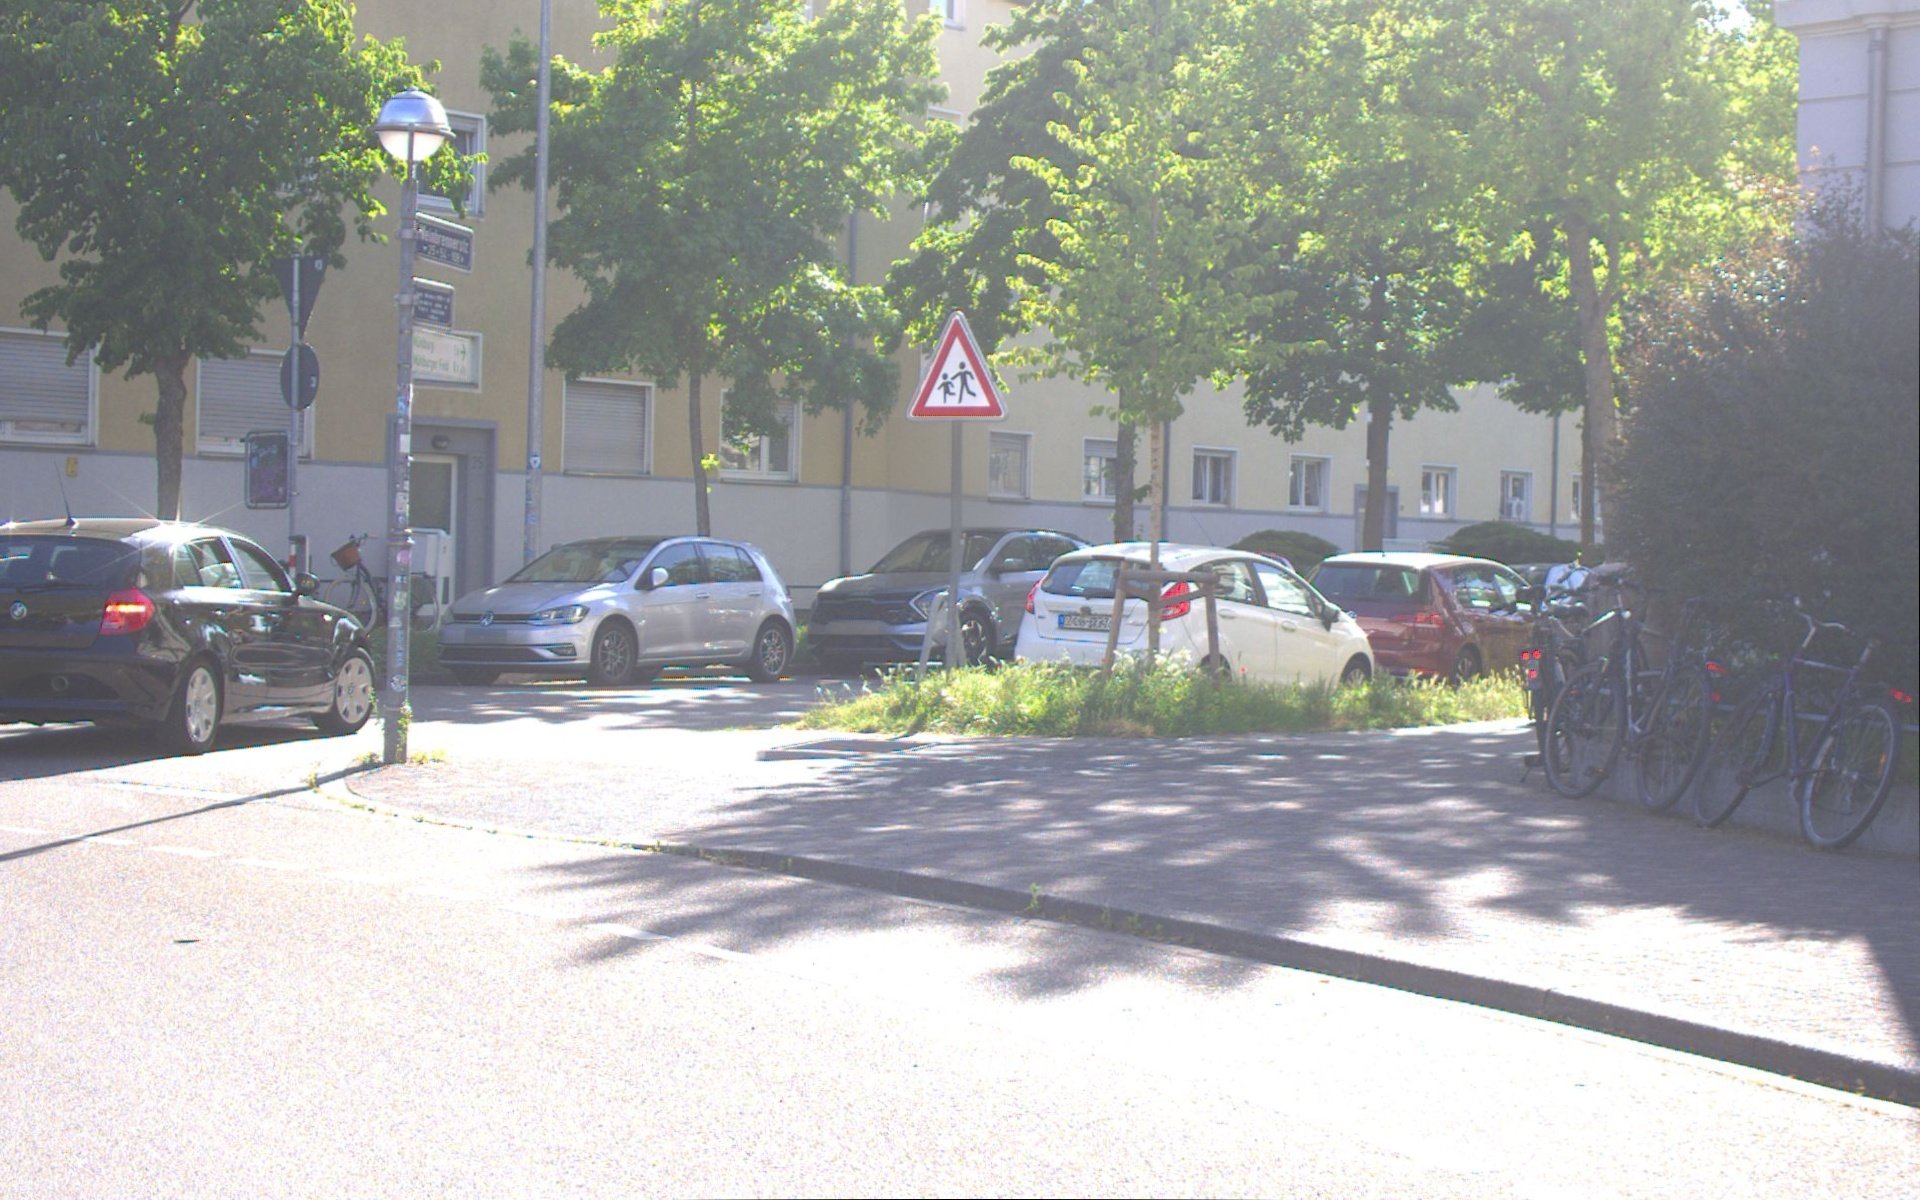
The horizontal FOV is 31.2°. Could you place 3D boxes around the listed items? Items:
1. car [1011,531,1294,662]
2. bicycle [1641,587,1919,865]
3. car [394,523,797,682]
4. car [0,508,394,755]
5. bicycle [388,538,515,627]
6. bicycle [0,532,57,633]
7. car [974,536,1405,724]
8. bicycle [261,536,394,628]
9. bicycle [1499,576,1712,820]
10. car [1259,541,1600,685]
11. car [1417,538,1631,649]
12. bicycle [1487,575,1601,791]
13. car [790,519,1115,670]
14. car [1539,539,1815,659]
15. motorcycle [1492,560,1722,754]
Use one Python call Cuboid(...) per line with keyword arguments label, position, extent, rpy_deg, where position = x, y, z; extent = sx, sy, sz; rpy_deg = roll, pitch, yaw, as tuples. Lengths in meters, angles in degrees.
Cuboid(label="car", position=(2.388, -0.055, 41.759), extent=(1.797, 1.505, 3.993), rpy_deg=(1, 1, 30))
Cuboid(label="bicycle", position=(3.614, 0.519, 15.123), extent=(0.498, 1.104, 1.801), rpy_deg=(0, 2, -13))
Cuboid(label="car", position=(-3.421, 0.014, 32.954), extent=(1.801, 1.406, 3.993), rpy_deg=(1, 1, 30))
Cuboid(label="car", position=(-5.144, 0.157, 21.815), extent=(1.865, 1.414, 3.998), rpy_deg=(0, 1, 10))
Cuboid(label="bicycle", position=(-5.996, -0.204, 40.569), extent=(1.446, 1.023, 0.500), rpy_deg=(0, 1, -45))
Cuboid(label="bicycle", position=(-9.964, -0.182, 35.146), extent=(0.499, 1.023, 1.447), rpy_deg=(2, 1, 32))
Cuboid(label="car", position=(1.979, 0.225, 28.567), extent=(1.798, 1.408, 3.992), rpy_deg=(2, 1, 34))
Cuboid(label="bicycle", position=(-7.183, -0.201, 39.082), extent=(1.446, 1.023, 0.500), rpy_deg=(0, 1, -45))
Cuboid(label="bicycle", position=(3.164, 0.456, 16.995), extent=(0.498, 1.104, 1.801), rpy_deg=(0, 2, -7))
Cuboid(label="car", position=(4.480, 0.101, 32.421), extent=(1.797, 1.251, 3.712), rpy_deg=(1, 1, 32))
Cuboid(label="car", position=(8.405, -0.099, 50.969), extent=(1.797, 1.570, 3.993), rpy_deg=(1, 0, 30))
Cuboid(label="bicycle", position=(3.274, 0.432, 19.181), extent=(0.499, 1.104, 1.949), rpy_deg=(1, 2, 13))
Cuboid(label="car", position=(-0.021, -0.062, 38.112), extent=(1.797, 1.570, 3.993), rpy_deg=(1, 0, 30))
Cuboid(label="car", position=(8.014, -0.027, 38.228), extent=(1.797, 1.251, 3.712), rpy_deg=(1, 1, 32))
Cuboid(label="motorcycle", position=(4.157, 0.346, 22.027), extent=(0.887, 1.187, 1.487), rpy_deg=(-1, 0, 36))
